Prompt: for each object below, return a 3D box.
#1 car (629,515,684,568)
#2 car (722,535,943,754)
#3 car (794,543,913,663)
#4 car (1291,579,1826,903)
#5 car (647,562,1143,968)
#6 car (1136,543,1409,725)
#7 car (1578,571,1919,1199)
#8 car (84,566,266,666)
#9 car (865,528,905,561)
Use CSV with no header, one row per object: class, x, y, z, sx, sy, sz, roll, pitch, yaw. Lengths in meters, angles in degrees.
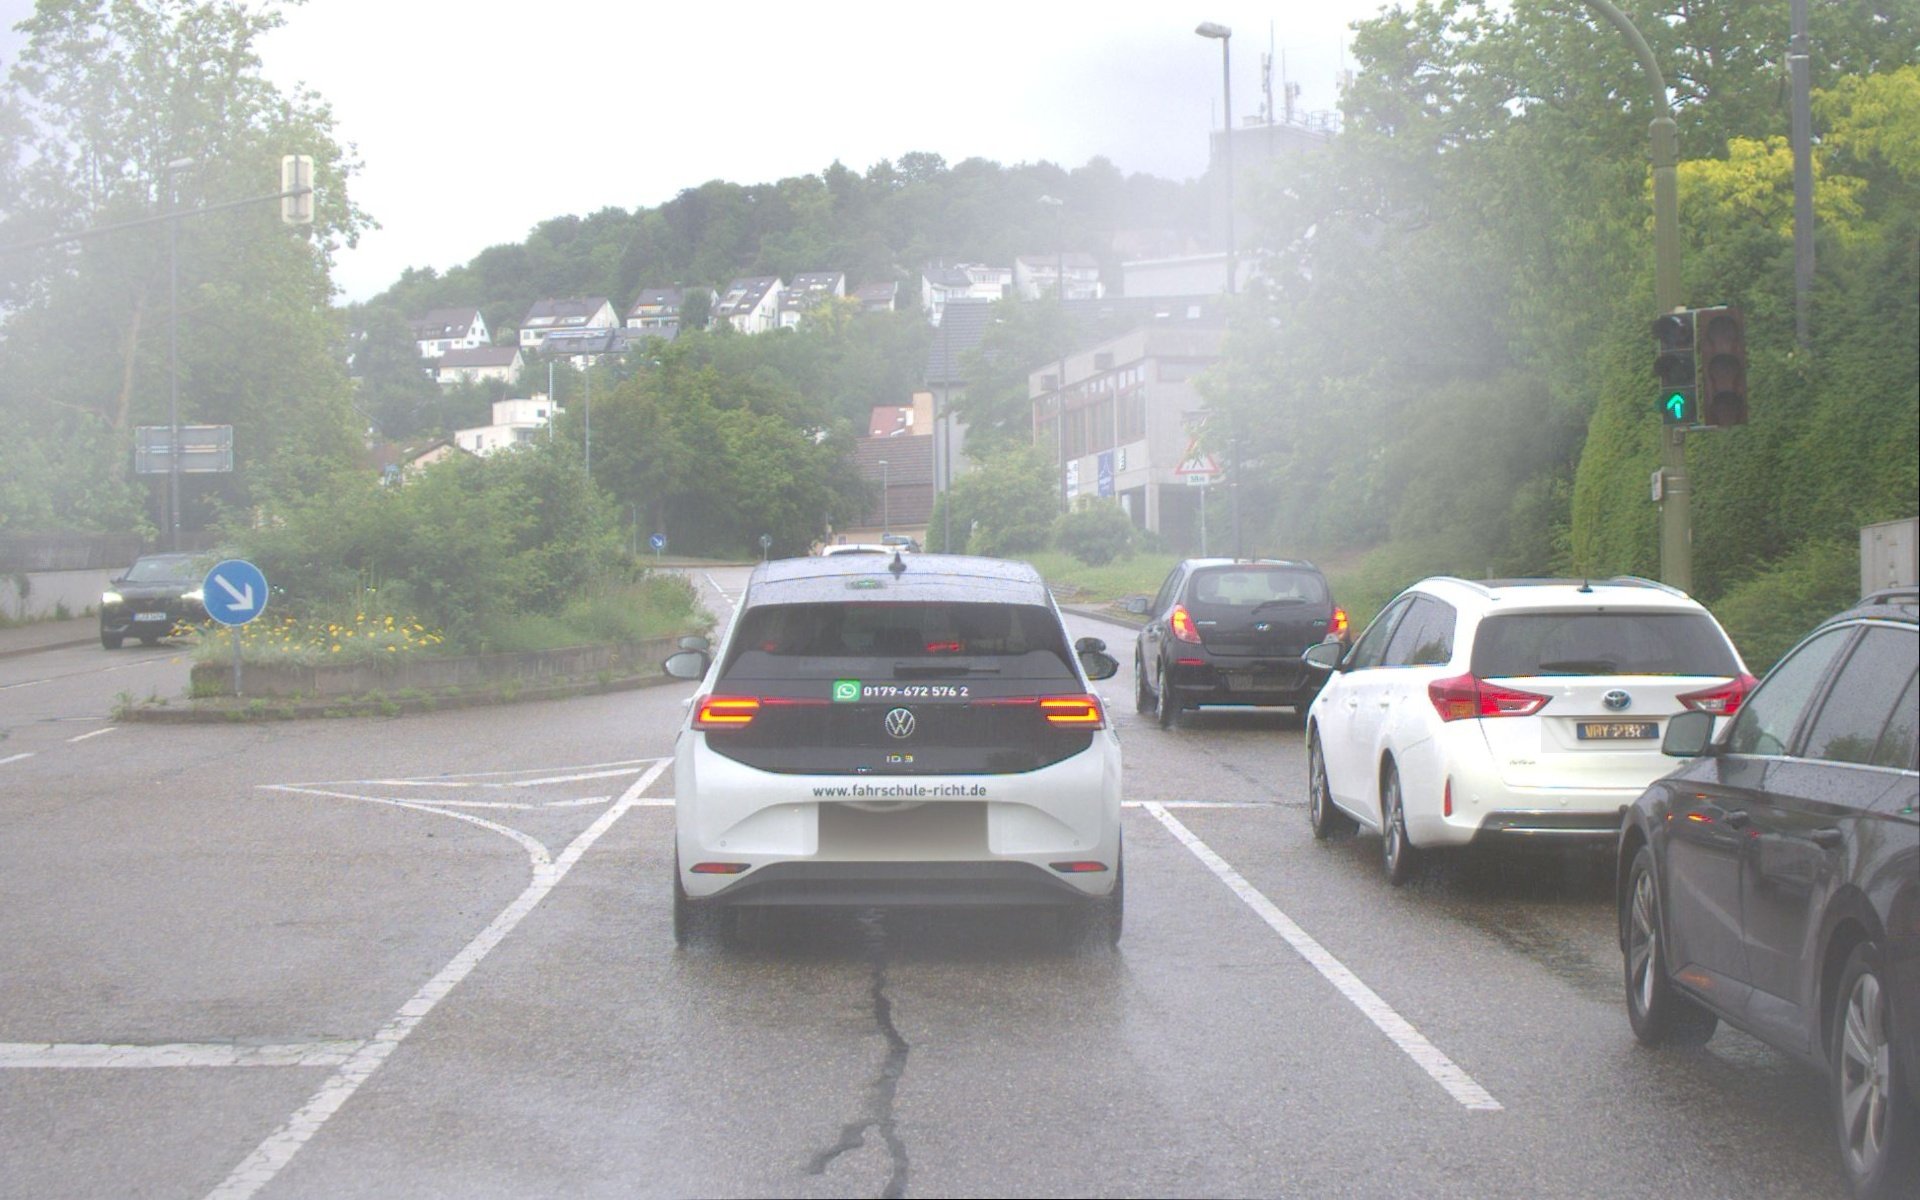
car,-11.952,-2.311,135.729,1.993,2.007,4.000,1,0,-3
car,-1.022,0.281,26.492,1.567,1.525,4.001,0,1,-3
car,-1.826,0.031,60.181,1.993,2.007,4.000,1,0,-1
car,2.811,0.599,17.102,1.848,1.405,4.302,0,0,-1
car,-0.270,0.594,14.761,1.828,1.495,4.169,0,0,-1
car,2.731,0.275,30.874,1.993,1.448,3.771,-3,0,-1
car,3.013,0.713,9.061,1.954,1.502,4.608,2,0,1
car,-12.655,0.234,55.678,1.950,1.473,4.296,-3,0,-1
car,-3.521,-2.585,160.628,1.737,1.459,4.000,1,0,-3
